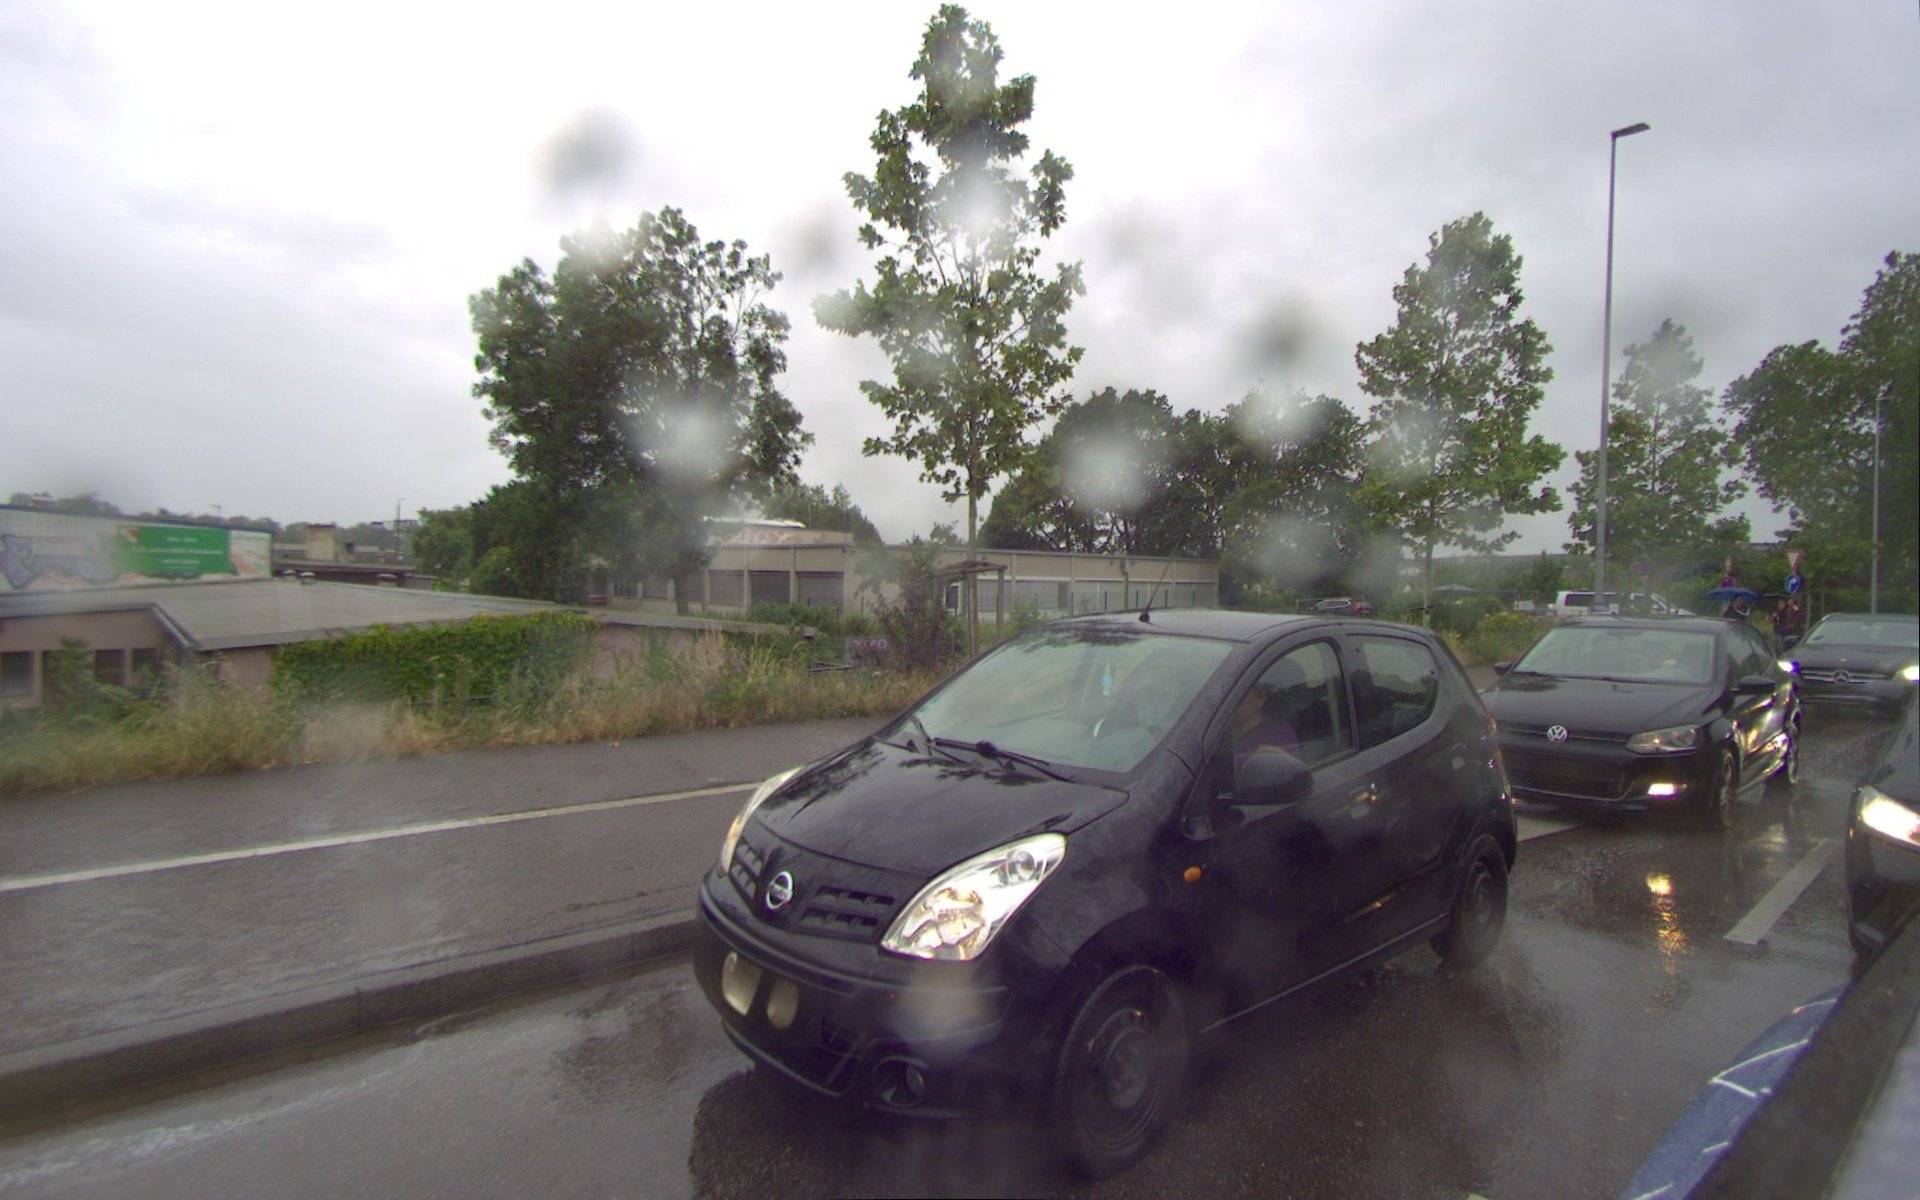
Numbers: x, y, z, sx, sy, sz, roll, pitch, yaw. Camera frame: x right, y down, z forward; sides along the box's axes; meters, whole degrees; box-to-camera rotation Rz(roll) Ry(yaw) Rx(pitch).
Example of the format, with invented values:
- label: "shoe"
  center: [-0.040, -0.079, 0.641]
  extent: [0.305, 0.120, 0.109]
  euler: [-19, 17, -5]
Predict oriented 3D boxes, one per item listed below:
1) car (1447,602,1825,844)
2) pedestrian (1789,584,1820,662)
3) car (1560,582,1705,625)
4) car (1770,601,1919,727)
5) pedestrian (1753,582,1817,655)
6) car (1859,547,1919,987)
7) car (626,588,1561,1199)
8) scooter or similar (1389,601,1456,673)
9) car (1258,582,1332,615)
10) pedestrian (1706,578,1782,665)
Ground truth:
- label: "car"
  center: [5.376, 0.750, 7.894]
  extent: [3.561, 1.447, 1.631]
  euler: [0, 0, -42]
- label: "pedestrian"
  center: [18.679, 0.499, 22.396]
  extent: [0.433, 1.682, 0.400]
  euler: [0, 3, -42]
- label: "car"
  center: [28.079, 0.121, 42.377]
  extent: [1.966, 1.670, 4.752]
  euler: [-1, 1, -42]
- label: "car"
  center: [13.395, 0.831, 14.856]
  extent: [3.747, 1.594, 1.697]
  euler: [-1, 0, -41]
- label: "pedestrian"
  center: [20.528, 0.436, 25.187]
  extent: [0.876, 1.729, 1.024]
  euler: [0, 3, -41]
- label: "car"
  center: [5.490, 0.592, 4.521]
  extent: [4.091, 1.607, 1.688]
  euler: [-1, 0, -41]
- label: "car"
  center: [0.779, 0.706, 3.863]
  extent: [3.561, 1.447, 1.631]
  euler: [0, 0, -42]
- label: "scooter or similar"
  center: [7.903, 0.604, 17.243]
  extent: [1.747, 1.144, 0.380]
  euler: [-1, 2, -43]
- label: "car"
  center: [21.001, -0.113, 63.472]
  extent: [1.964, 2.039, 3.996]
  euler: [0, 0, -38]
- label: "pedestrian"
  center: [16.863, 0.436, 21.772]
  extent: [0.953, 1.777, 1.081]
  euler: [0, 3, -42]
